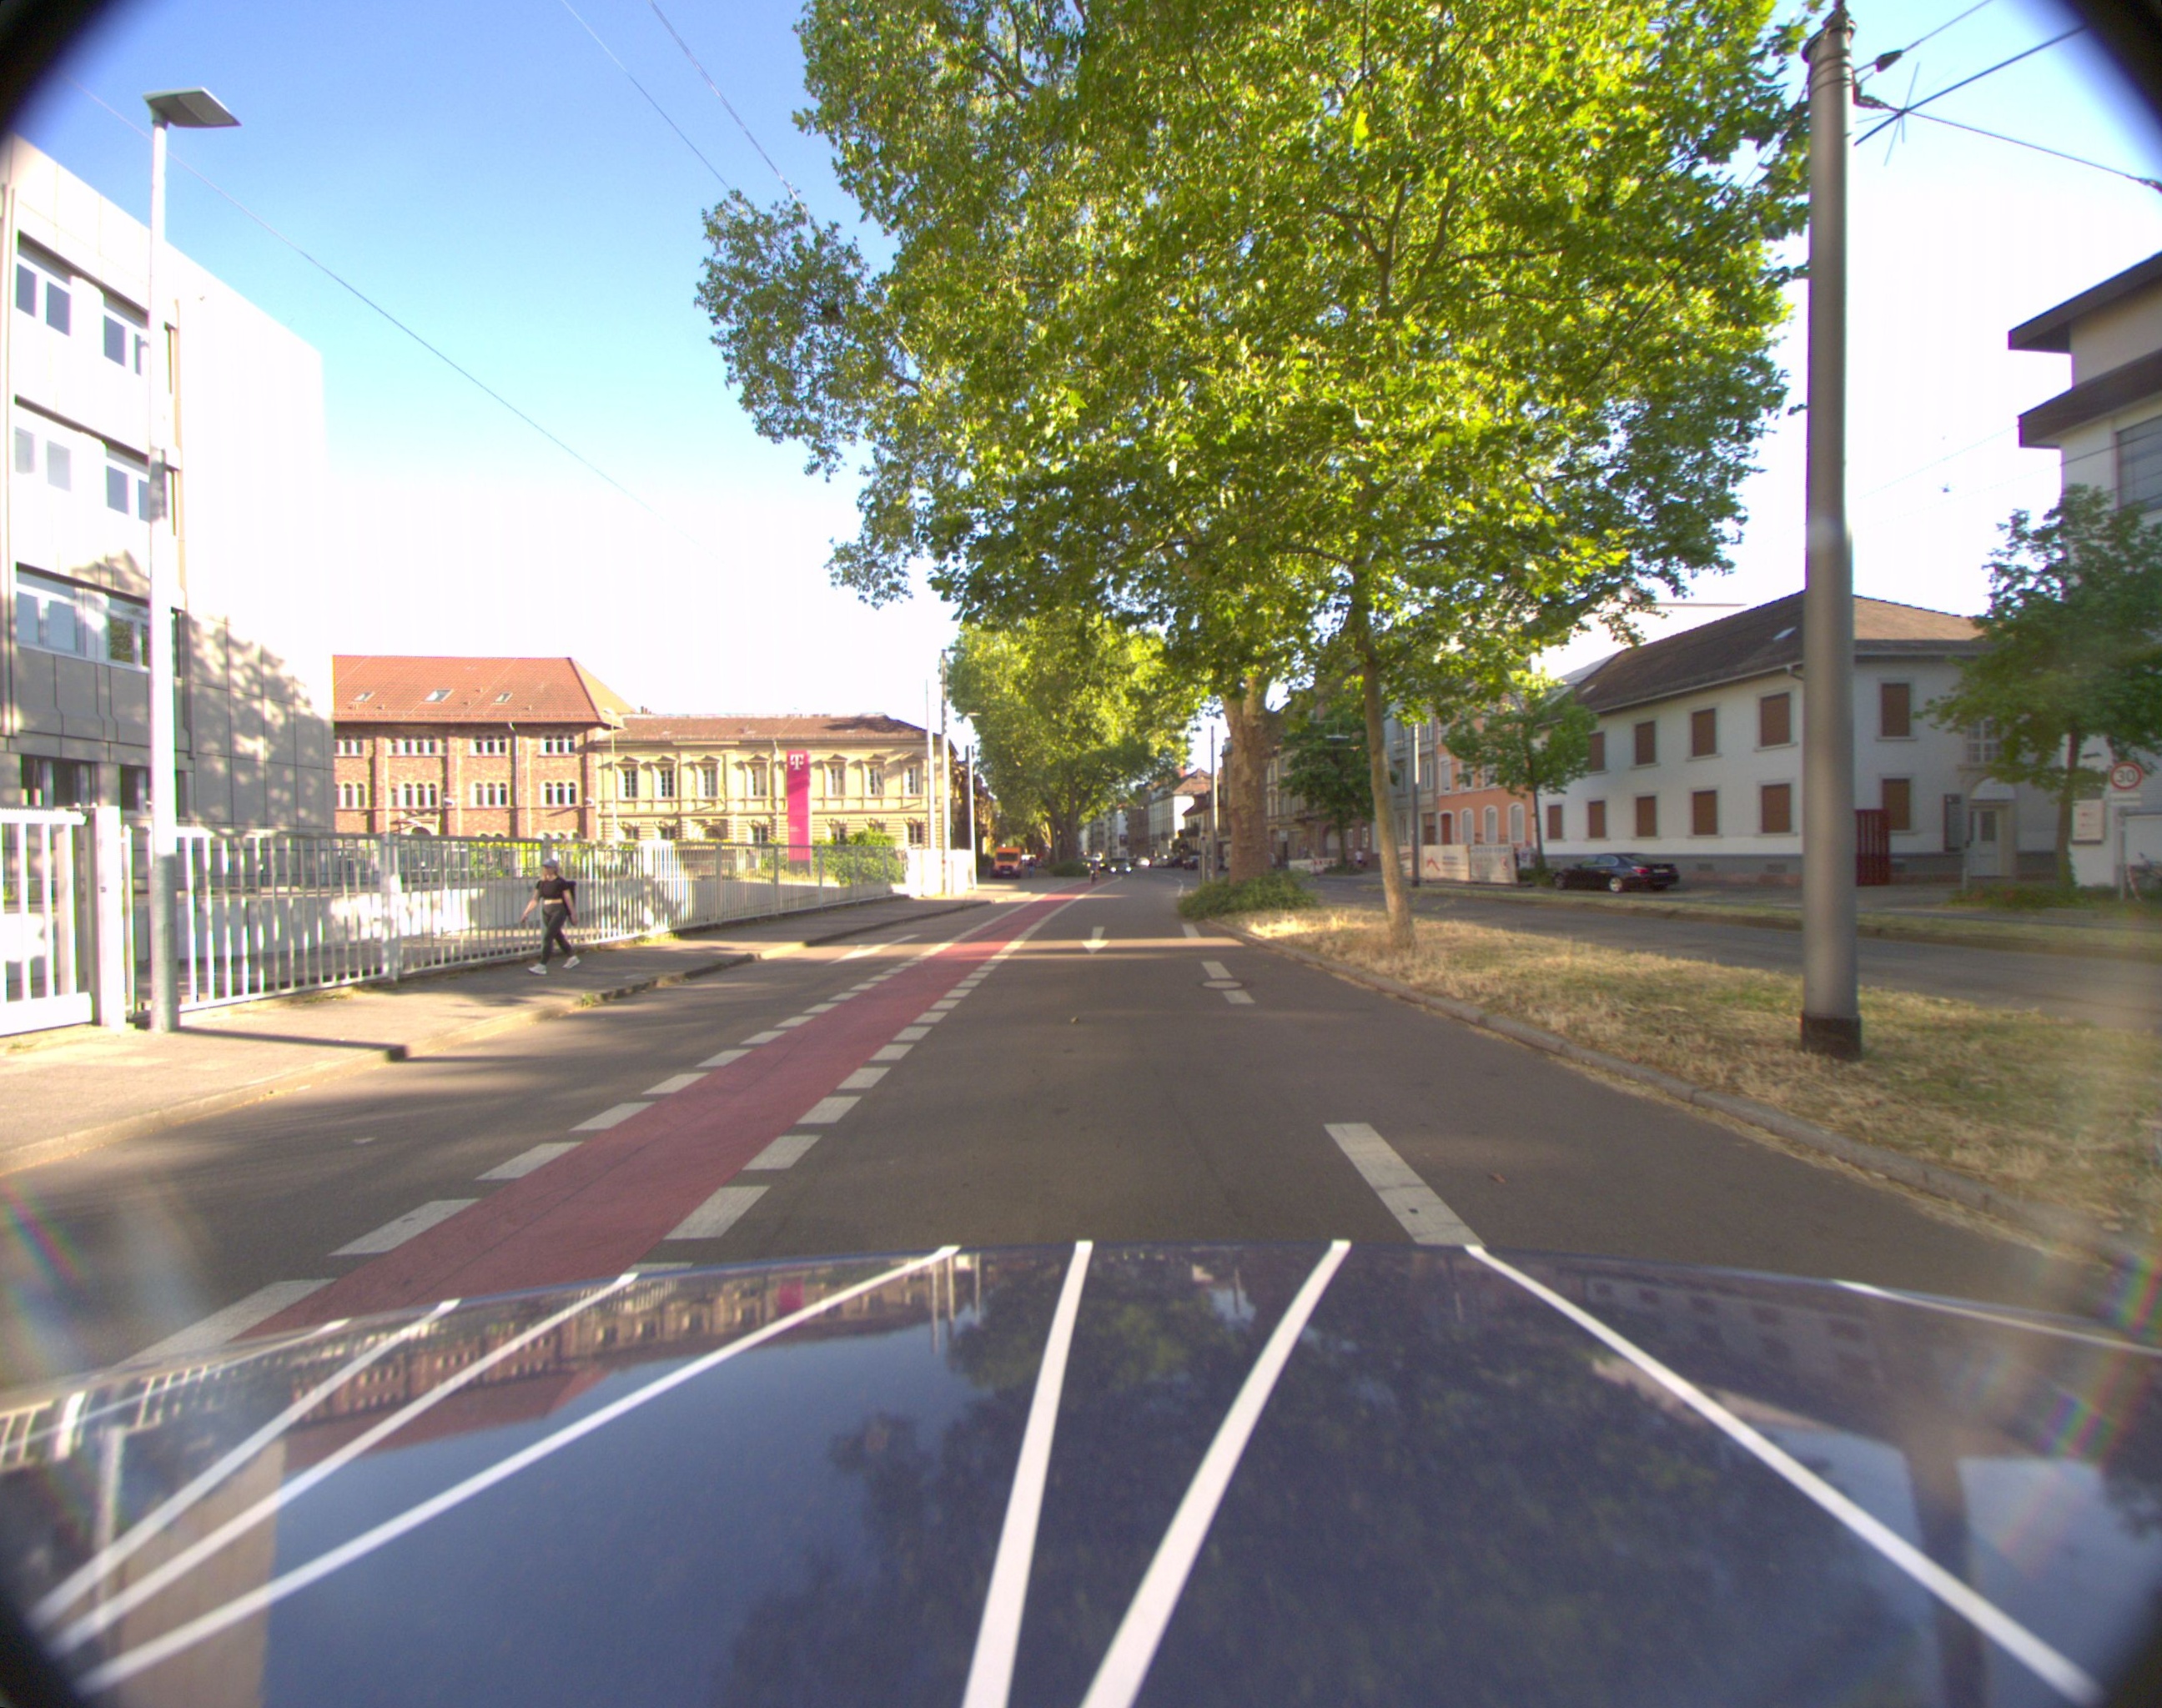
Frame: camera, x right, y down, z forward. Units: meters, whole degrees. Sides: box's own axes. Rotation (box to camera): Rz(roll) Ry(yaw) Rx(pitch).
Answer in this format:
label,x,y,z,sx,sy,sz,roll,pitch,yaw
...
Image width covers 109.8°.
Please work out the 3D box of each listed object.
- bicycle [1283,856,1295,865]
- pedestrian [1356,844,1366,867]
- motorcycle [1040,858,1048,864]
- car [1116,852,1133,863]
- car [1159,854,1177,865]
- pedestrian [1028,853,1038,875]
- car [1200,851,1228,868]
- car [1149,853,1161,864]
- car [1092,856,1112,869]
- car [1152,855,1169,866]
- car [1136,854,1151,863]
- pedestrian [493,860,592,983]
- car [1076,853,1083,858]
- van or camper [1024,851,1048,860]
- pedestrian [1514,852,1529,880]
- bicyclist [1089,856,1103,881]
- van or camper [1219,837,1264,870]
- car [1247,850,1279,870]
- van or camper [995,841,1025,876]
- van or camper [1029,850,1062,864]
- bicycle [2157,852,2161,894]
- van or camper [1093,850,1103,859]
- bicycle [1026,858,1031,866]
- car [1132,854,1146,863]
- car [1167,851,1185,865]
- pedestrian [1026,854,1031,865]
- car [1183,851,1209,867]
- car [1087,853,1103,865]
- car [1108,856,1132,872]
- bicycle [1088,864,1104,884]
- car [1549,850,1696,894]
label,x,y,z,sx,sy,sz,roll,pitch,yaw
bicycle,20.228,0.618,73.970,0.580,0.919,1.791,-1,0,-2
pedestrian,21.635,0.102,58.653,0.599,1.807,0.481,-1,1,-4
motorcycle,-5.748,1.102,119.403,1.274,1.048,0.394,-1,1,-41
car,7.026,0.570,122.018,2.000,1.679,4.307,-1,0,-6
car,12.485,0.820,109.598,1.668,1.446,4.402,-4,0,-5
pedestrian,-3.820,0.825,60.749,0.653,1.726,1.006,-1,1,-10
car,14.984,0.623,85.814,1.816,1.695,4.441,-4,0,-6
car,11.663,0.705,120.397,1.422,1.502,3.325,-3,0,-2
car,2.402,0.977,87.423,1.740,1.365,3.917,-3,0,-5
car,11.988,0.953,115.000,1.587,1.482,4.468,-3,0,-5
car,10.724,0.813,130.606,1.869,1.423,4.081,-3,0,-5
pedestrian,-7.652,0.928,10.840,0.697,1.674,0.930,-1,1,3
car,-0.367,0.402,248.701,1.809,1.534,3.916,-3,0,-7
van or camper,-11.843,0.390,199.627,6.101,2.417,2.427,-1,0,-4
pedestrian,22.613,0.598,39.044,0.458,1.409,0.472,-1,1,-12
bicyclist,0.883,0.835,44.825,0.715,1.435,0.953,-1,0,-3
van or camper,15.942,-0.055,76.071,2.426,2.930,7.248,-4,0,-3
car,16.640,0.559,69.721,1.635,1.696,3.369,-4,1,-7
van or camper,-5.429,0.345,58.835,2.041,2.544,5.771,-1,0,-3
van or camper,-6.578,0.502,139.711,5.931,2.484,2.219,-1,3,-7
bicycle,26.095,0.456,17.787,0.304,0.996,1.018,-1,0,-6
van or camper,4.513,0.088,197.363,1.945,2.267,4.596,-3,0,-5
bicycle,-7.670,1.164,110.409,0.676,1.026,1.900,1,0,-2
car,10.262,0.772,135.538,1.799,1.587,4.081,-3,0,-5
car,13.138,0.539,105.235,1.729,1.736,3.624,-4,0,-4
pedestrian,-7.655,0.820,110.195,0.671,1.610,1.102,1,1,-2
car,14.066,0.625,93.049,1.999,1.693,4.748,-4,0,-6
car,1.831,0.698,99.222,1.726,1.523,3.592,-1,0,-6
car,3.716,0.951,72.946,1.740,1.365,3.917,-3,0,-5
bicycle,0.889,1.175,44.841,0.715,1.131,2.119,-1,0,-4
car,20.489,0.627,29.052,1.999,1.505,4.722,-1,0,-5
